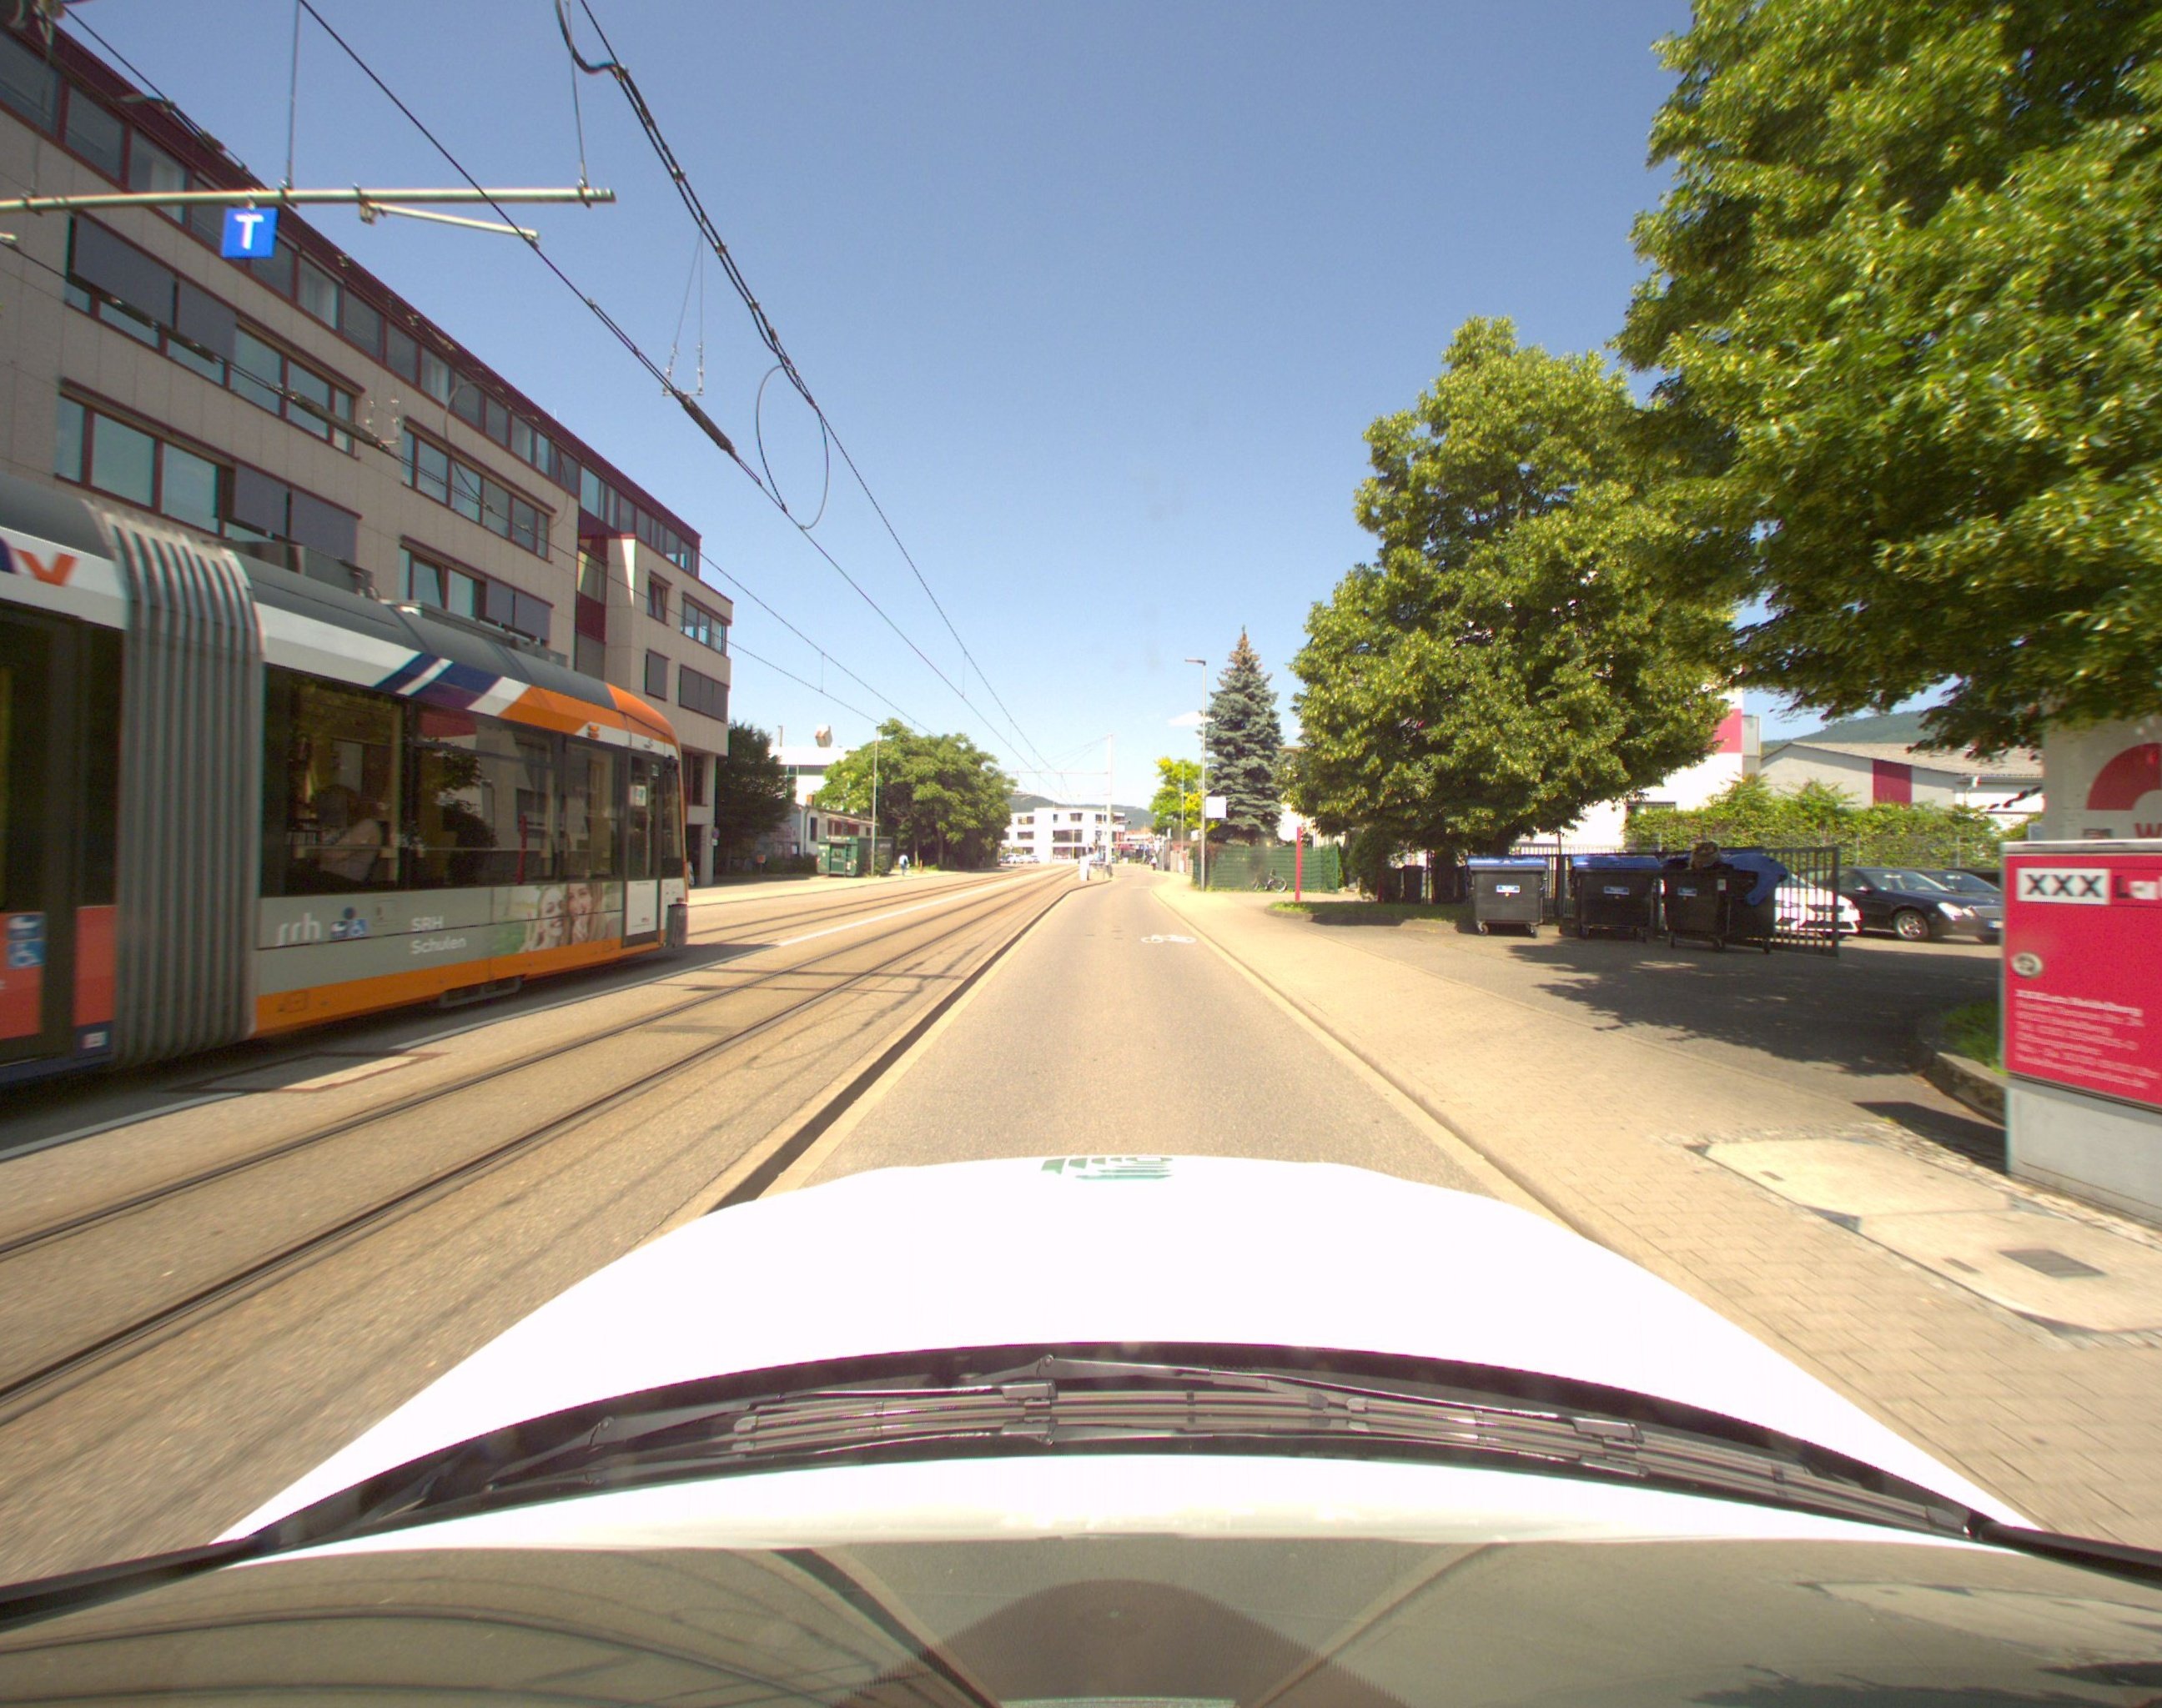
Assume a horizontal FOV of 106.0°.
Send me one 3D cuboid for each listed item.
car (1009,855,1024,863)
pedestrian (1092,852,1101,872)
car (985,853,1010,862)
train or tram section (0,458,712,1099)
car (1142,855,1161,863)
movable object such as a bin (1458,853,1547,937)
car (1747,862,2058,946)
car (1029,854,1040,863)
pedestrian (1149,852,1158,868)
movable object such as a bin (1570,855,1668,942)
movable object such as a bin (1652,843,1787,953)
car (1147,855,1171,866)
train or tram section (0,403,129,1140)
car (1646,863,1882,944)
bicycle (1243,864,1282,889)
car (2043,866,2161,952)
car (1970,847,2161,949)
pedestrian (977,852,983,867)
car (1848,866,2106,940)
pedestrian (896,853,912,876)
[{"bbox_3d":[-12.931,0.981,163.952,1.936,1.647,3.731,0,0,-24],"label":"car"},{"bbox_3d":[1.321,0.682,69.307,0.740,1.740,0.727,0,0,1],"label":"pedestrian"},{"bbox_3d":[-14.264,0.634,139.110,3.957,1.552,1.799,0,0,15],"label":"car"},{"bbox_3d":[-6.249,-0.402,7.567,2.571,3.447,6.364,0,0,1],"label":"train or tram section"},{"bbox_3d":[15.246,1.130,176.429,4.022,1.662,1.843,0,0,-43],"label":"car"},{"bbox_3d":[7.516,0.711,14.559,1.371,1.430,0.996,0,-2,26],"label":"movable object such as a bin"},{"bbox_3d":[16.857,0.939,17.167,1.880,1.378,4.772,0,1,2],"label":"car"},{"bbox_3d":[-8.795,0.909,154.759,1.755,1.647,3.750,0,0,-9],"label":"car"},{"bbox_3d":[8.190,0.717,92.356,0.936,1.787,0.953,1,1,1],"label":"pedestrian"},{"bbox_3d":[9.234,0.744,14.045,1.304,1.430,0.890,0,-2,26],"label":"movable object such as a bin"},{"bbox_3d":[9.535,0.643,12.225,0.975,1.547,1.319,1,-2,-2],"label":"movable object such as a bin"},{"bbox_3d":[13.139,1.078,136.702,4.020,1.750,1.755,1,0,-40],"label":"car"},{"bbox_3d":[-6.424,-0.402,0.739,2.571,3.447,7.138,0,0,1],"label":"train or tram section"},{"bbox_3d":[14.080,0.938,17.135,1.736,1.460,4.002,1,0,2],"label":"car"},{"bbox_3d":[7.170,0.901,32.156,1.466,0.991,0.388,0,-3,0],"label":"bicycle"},{"bbox_3d":[19.455,0.948,13.653,1.736,1.460,4.236,0,-1,2],"label":"car"},{"bbox_3d":[22.074,0.852,17.453,1.709,1.922,4.051,0,1,2],"label":"car"},{"bbox_3d":[-10.202,0.590,82.287,0.581,1.537,0.657,0,0,1],"label":"pedestrian"},{"bbox_3d":[19.804,1.009,18.283,1.709,1.354,3.804,0,1,2],"label":"car"},{"bbox_3d":[-11.730,0.691,53.903,0.831,1.537,0.838,0,0,1],"label":"pedestrian"}]
